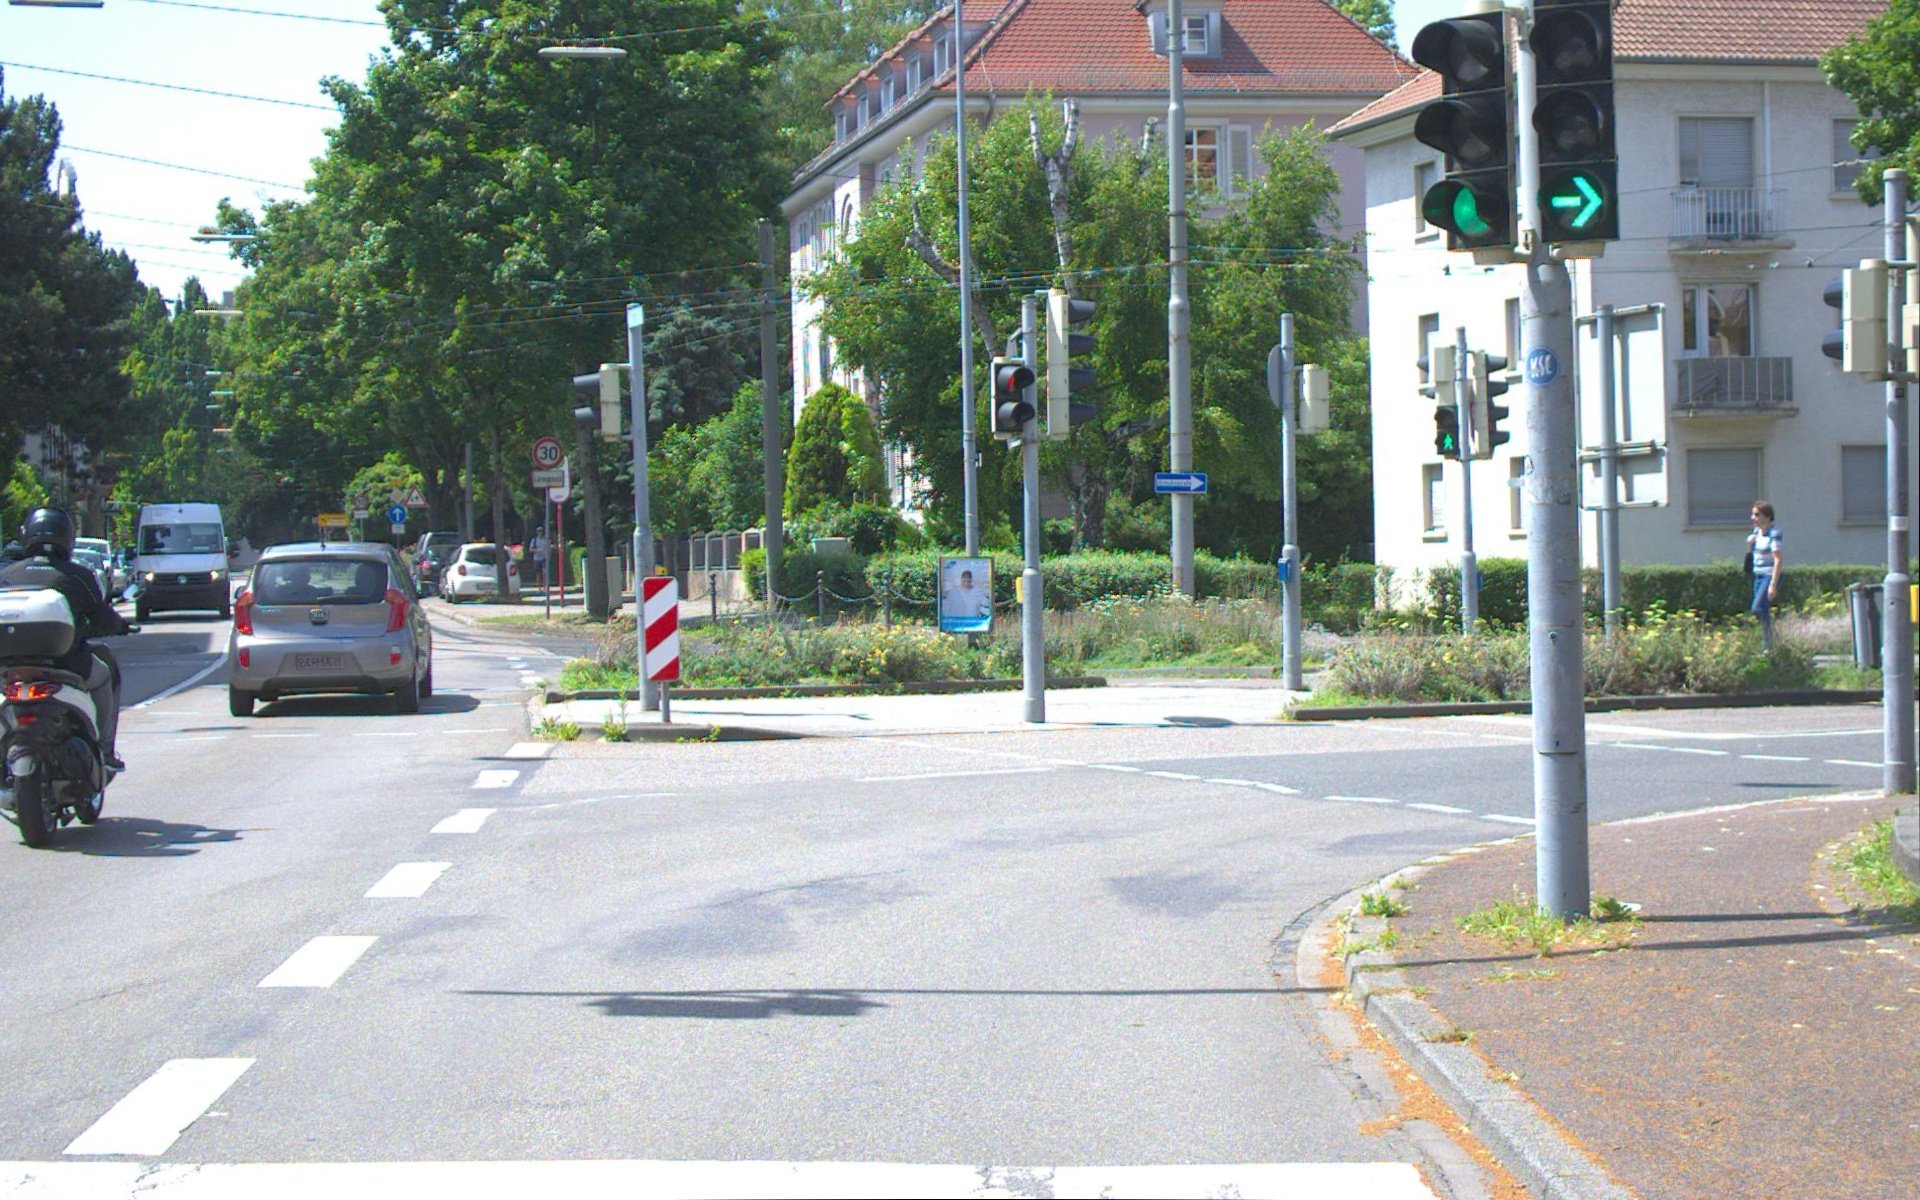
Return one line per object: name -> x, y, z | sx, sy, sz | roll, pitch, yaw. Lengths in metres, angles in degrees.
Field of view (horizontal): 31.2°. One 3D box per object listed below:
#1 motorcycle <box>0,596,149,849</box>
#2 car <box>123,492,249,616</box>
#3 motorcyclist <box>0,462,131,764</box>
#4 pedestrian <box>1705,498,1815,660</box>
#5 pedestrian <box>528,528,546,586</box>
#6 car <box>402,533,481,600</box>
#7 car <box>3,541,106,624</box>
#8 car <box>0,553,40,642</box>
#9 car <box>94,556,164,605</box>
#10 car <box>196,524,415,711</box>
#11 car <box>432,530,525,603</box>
motorcycle -> -4.525, 0.568, 16.975 | 0.711, 1.130, 2.198 | -1, 1, -6
car -> -17.099, -1.009, 76.266 | 2.215, 2.492, 7.556 | -4, 1, -10
motorcyclist -> -4.528, 0.055, 16.944 | 0.711, 1.440, 1.019 | 0, 1, -6
pedestrian -> 8.539, -0.232, 36.690 | 0.835, 1.699, 0.762 | -1, 1, -28
pedestrian -> -11.897, -1.212, 96.652 | 0.508, 1.650, 0.466 | 0, 1, -8
car -> -15.190, -1.004, 100.591 | 1.993, 1.900, 4.001 | 0, 1, -13
car -> -20.110, -0.408, 76.477 | 1.798, 1.712, 4.038 | 2, 0, -9
car -> -17.225, -0.055, 60.286 | 1.993, 1.505, 4.001 | -1, 1, -14
car -> -28.185, -0.666, 116.697 | 1.798, 1.552, 4.038 | 2, 0, -7
car -> -5.839, 0.117, 30.981 | 1.798, 1.552, 4.038 | -1, 1, -9
car -> -12.261, -0.863, 87.428 | 1.993, 1.801, 4.001 | 0, 1, -13
